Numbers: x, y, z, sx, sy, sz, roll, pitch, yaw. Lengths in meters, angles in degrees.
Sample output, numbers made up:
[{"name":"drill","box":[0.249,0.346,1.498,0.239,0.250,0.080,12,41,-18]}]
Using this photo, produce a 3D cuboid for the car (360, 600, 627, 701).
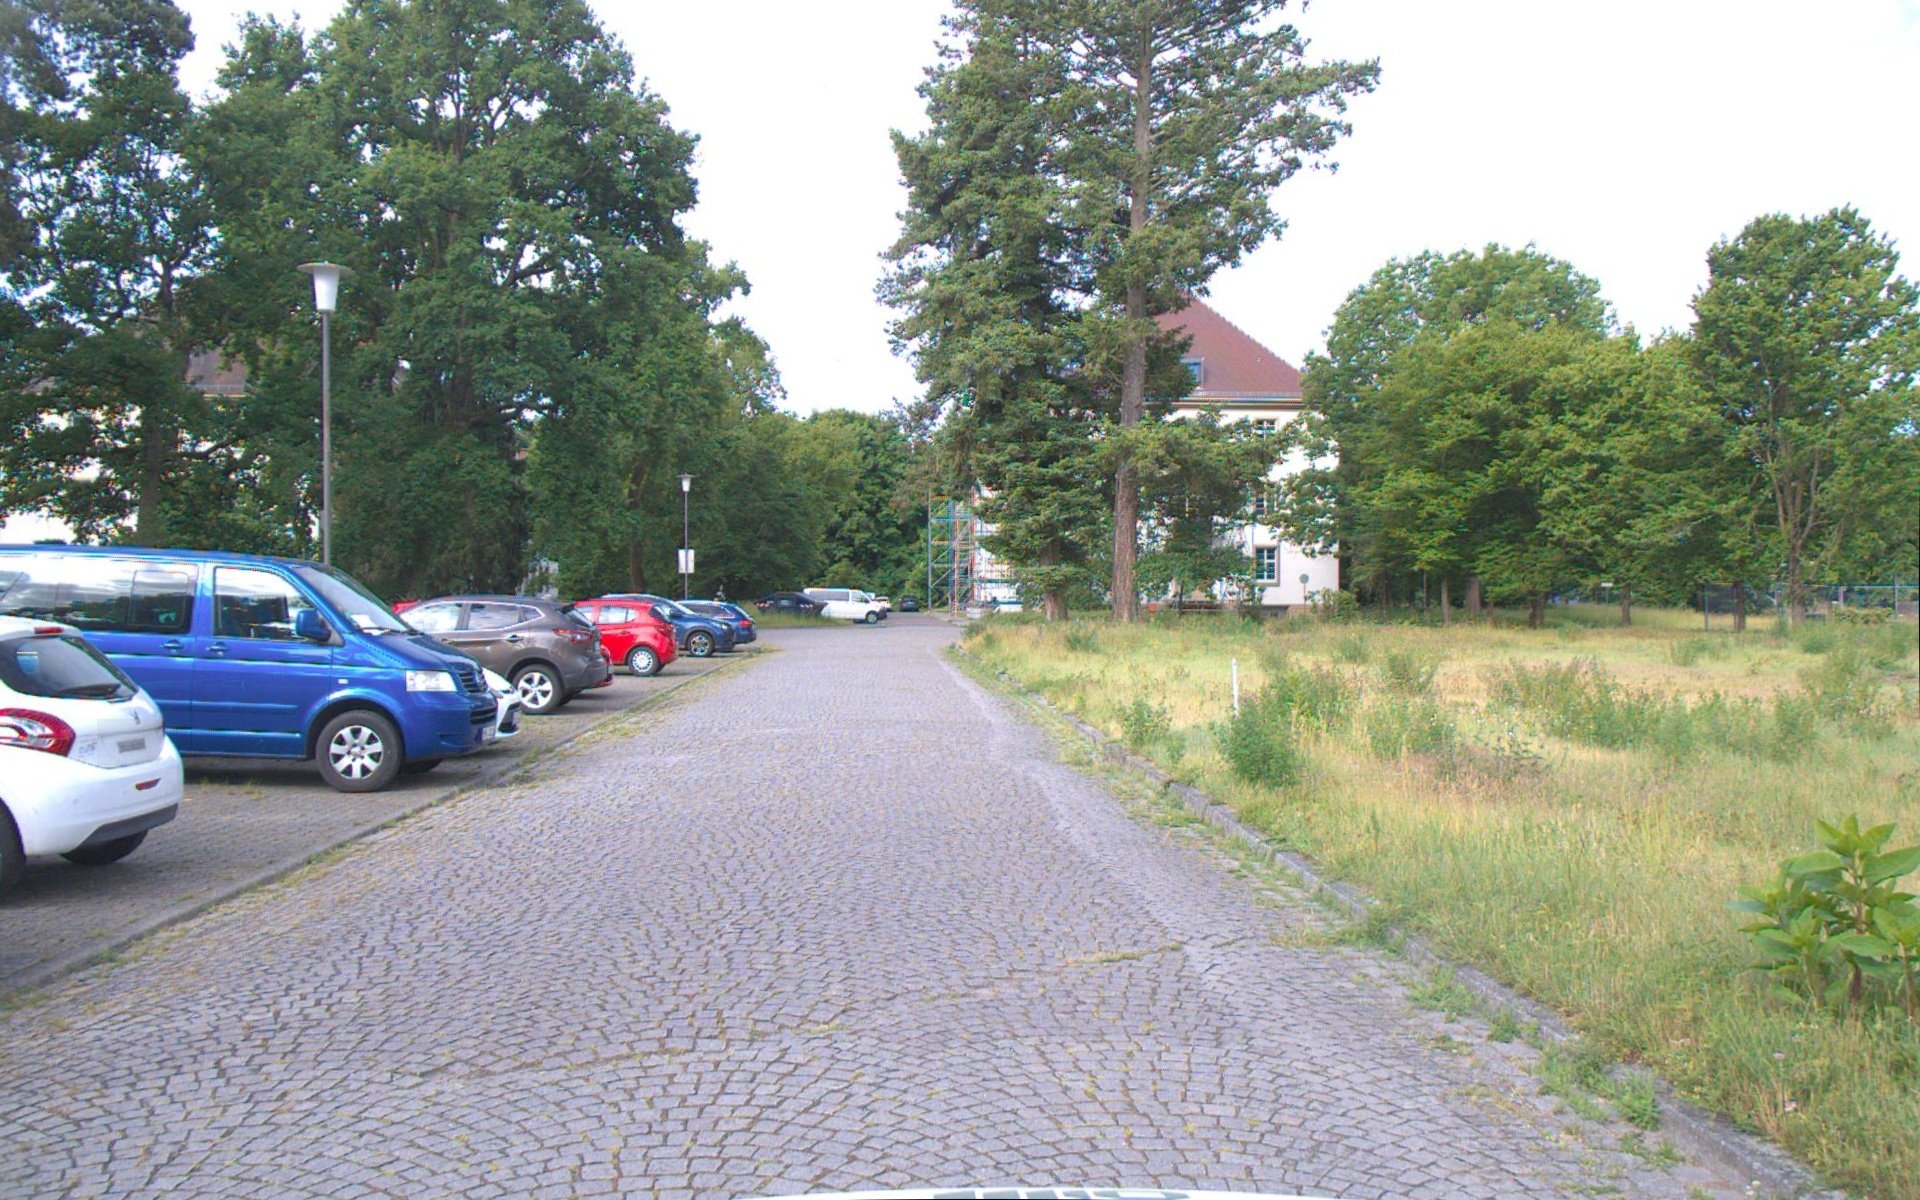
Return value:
[{"name":"car","box":[-7.289,0.771,26.108,3.740,1.512,1.760,0,0,-3]}]

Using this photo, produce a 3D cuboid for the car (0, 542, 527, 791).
[{"name":"car","box":[-6.355,0.543,14.492,4.616,2.015,2.037,0,0,-4]}]

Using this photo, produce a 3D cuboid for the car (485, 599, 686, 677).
[{"name":"car","box":[-7.554,0.748,33.628,3.740,1.515,1.786,0,0,-4]}]

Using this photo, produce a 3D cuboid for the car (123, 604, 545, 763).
[{"name":"car","box":[-6.328,0.828,17.077,3.720,1.519,1.724,0,0,-6]}]

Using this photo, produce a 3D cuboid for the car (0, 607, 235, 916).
[{"name":"car","box":[-6.405,0.806,9.183,3.924,1.528,1.842,0,0,-2]}]

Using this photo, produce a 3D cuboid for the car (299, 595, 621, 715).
[{"name":"car","box":[-6.940,0.747,23.338,3.988,1.603,1.953,0,0,-4]}]

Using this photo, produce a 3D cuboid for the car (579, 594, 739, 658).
[{"name":"car","box":[-7.926,0.671,43.869,3.991,1.632,1.786,0,0,-5]}]

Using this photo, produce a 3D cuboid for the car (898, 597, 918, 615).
[{"name":"car","box":[-5.188,0.595,164.194,1.755,1.750,4.057,0,-2,-4]}]

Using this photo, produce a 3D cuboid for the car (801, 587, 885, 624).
[{"name":"car","box":[-6.900,0.335,97.659,4.880,2.109,2.050,1,-2,-5]}]

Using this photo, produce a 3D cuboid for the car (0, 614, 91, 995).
[{"name":"car","box":[-5.920,0.804,6.343,4.217,1.506,1.730,0,0,-2]}]

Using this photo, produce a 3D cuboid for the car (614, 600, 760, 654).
[{"name":"car","box":[-7.973,0.778,48.568,3.987,1.493,1.626,0,0,0]}]

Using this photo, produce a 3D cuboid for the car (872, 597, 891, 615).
[{"name":"car","box":[-7.740,0.640,163.723,1.755,1.665,4.057,0,-2,-4]}]
